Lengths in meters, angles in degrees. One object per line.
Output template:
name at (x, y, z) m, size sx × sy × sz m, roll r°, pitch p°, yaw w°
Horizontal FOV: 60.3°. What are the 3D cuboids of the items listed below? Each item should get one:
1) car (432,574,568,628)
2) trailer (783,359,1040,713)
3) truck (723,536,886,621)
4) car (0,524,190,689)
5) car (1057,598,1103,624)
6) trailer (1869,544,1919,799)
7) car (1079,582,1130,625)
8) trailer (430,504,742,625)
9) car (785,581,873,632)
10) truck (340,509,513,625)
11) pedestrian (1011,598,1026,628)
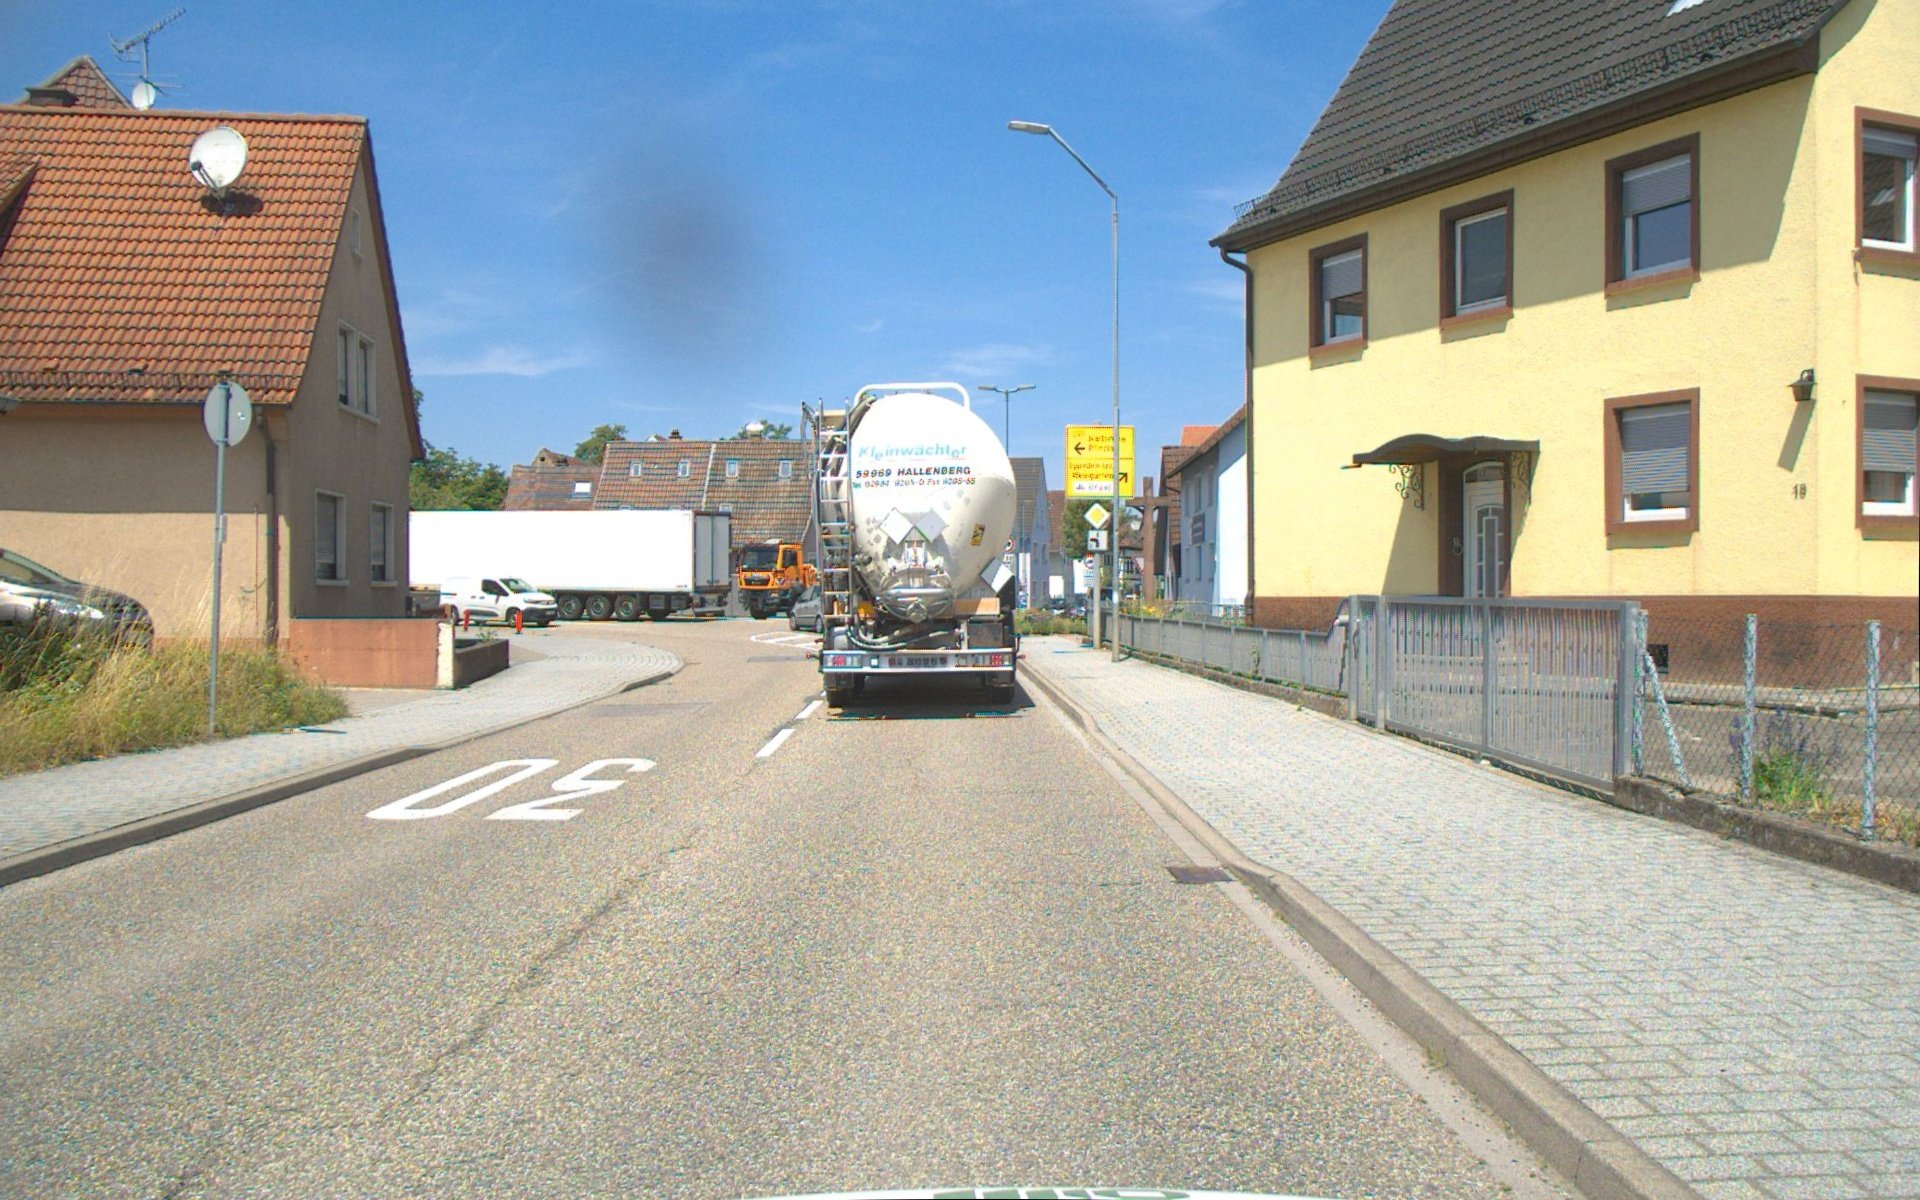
car at (-16.325, 0.015, 58.753) m, size 4.414 × 1.816 × 1.880 m, roll 1°, pitch 1°, yaw 21°
trailer at (-0.831, -0.713, 24.824) m, size 2.893 × 4.017 × 11.611 m, roll 1°, pitch 0°, yaw -3°
truck at (-6.337, -0.801, 68.787) m, size 2.615 × 3.237 × 7.438 m, roll 0°, pitch -2°, yaw 34°
car at (-10.795, 0.088, 17.881) m, size 4.039 × 1.666 × 1.865 m, roll -1°, pitch 0°, yaw 0°
car at (8.200, 0.792, 112.911) m, size 1.952 × 1.704 × 4.312 m, roll 1°, pitch -1°, yaw 21°
trailer at (8.547, 0.459, 10.884) m, size 5.290 × 1.573 × 2.117 m, roll 1°, pitch -1°, yaw -30°
car at (7.032, 0.212, 80.095) m, size 1.951 × 1.946 × 4.327 m, roll 1°, pitch -2°, yaw 11°
trailer at (-14.467, -1.292, 63.493) m, size 12.203 × 4.352 × 3.141 m, roll 0°, pitch -1°, yaw 24°
car at (-4.285, 0.198, 53.666) m, size 1.759 × 1.613 × 3.578 m, roll 0°, pitch 0°, yaw -24°
truck at (-21.307, -1.279, 66.185) m, size 5.790 × 4.478 × 3.117 m, roll 0°, pitch -1°, yaw 16°
pedestrian at (4.058, 0.920, 115.310) m, size 0.753 × 2.049 × 0.977 m, roll 1°, pitch 0°, yaw 20°
